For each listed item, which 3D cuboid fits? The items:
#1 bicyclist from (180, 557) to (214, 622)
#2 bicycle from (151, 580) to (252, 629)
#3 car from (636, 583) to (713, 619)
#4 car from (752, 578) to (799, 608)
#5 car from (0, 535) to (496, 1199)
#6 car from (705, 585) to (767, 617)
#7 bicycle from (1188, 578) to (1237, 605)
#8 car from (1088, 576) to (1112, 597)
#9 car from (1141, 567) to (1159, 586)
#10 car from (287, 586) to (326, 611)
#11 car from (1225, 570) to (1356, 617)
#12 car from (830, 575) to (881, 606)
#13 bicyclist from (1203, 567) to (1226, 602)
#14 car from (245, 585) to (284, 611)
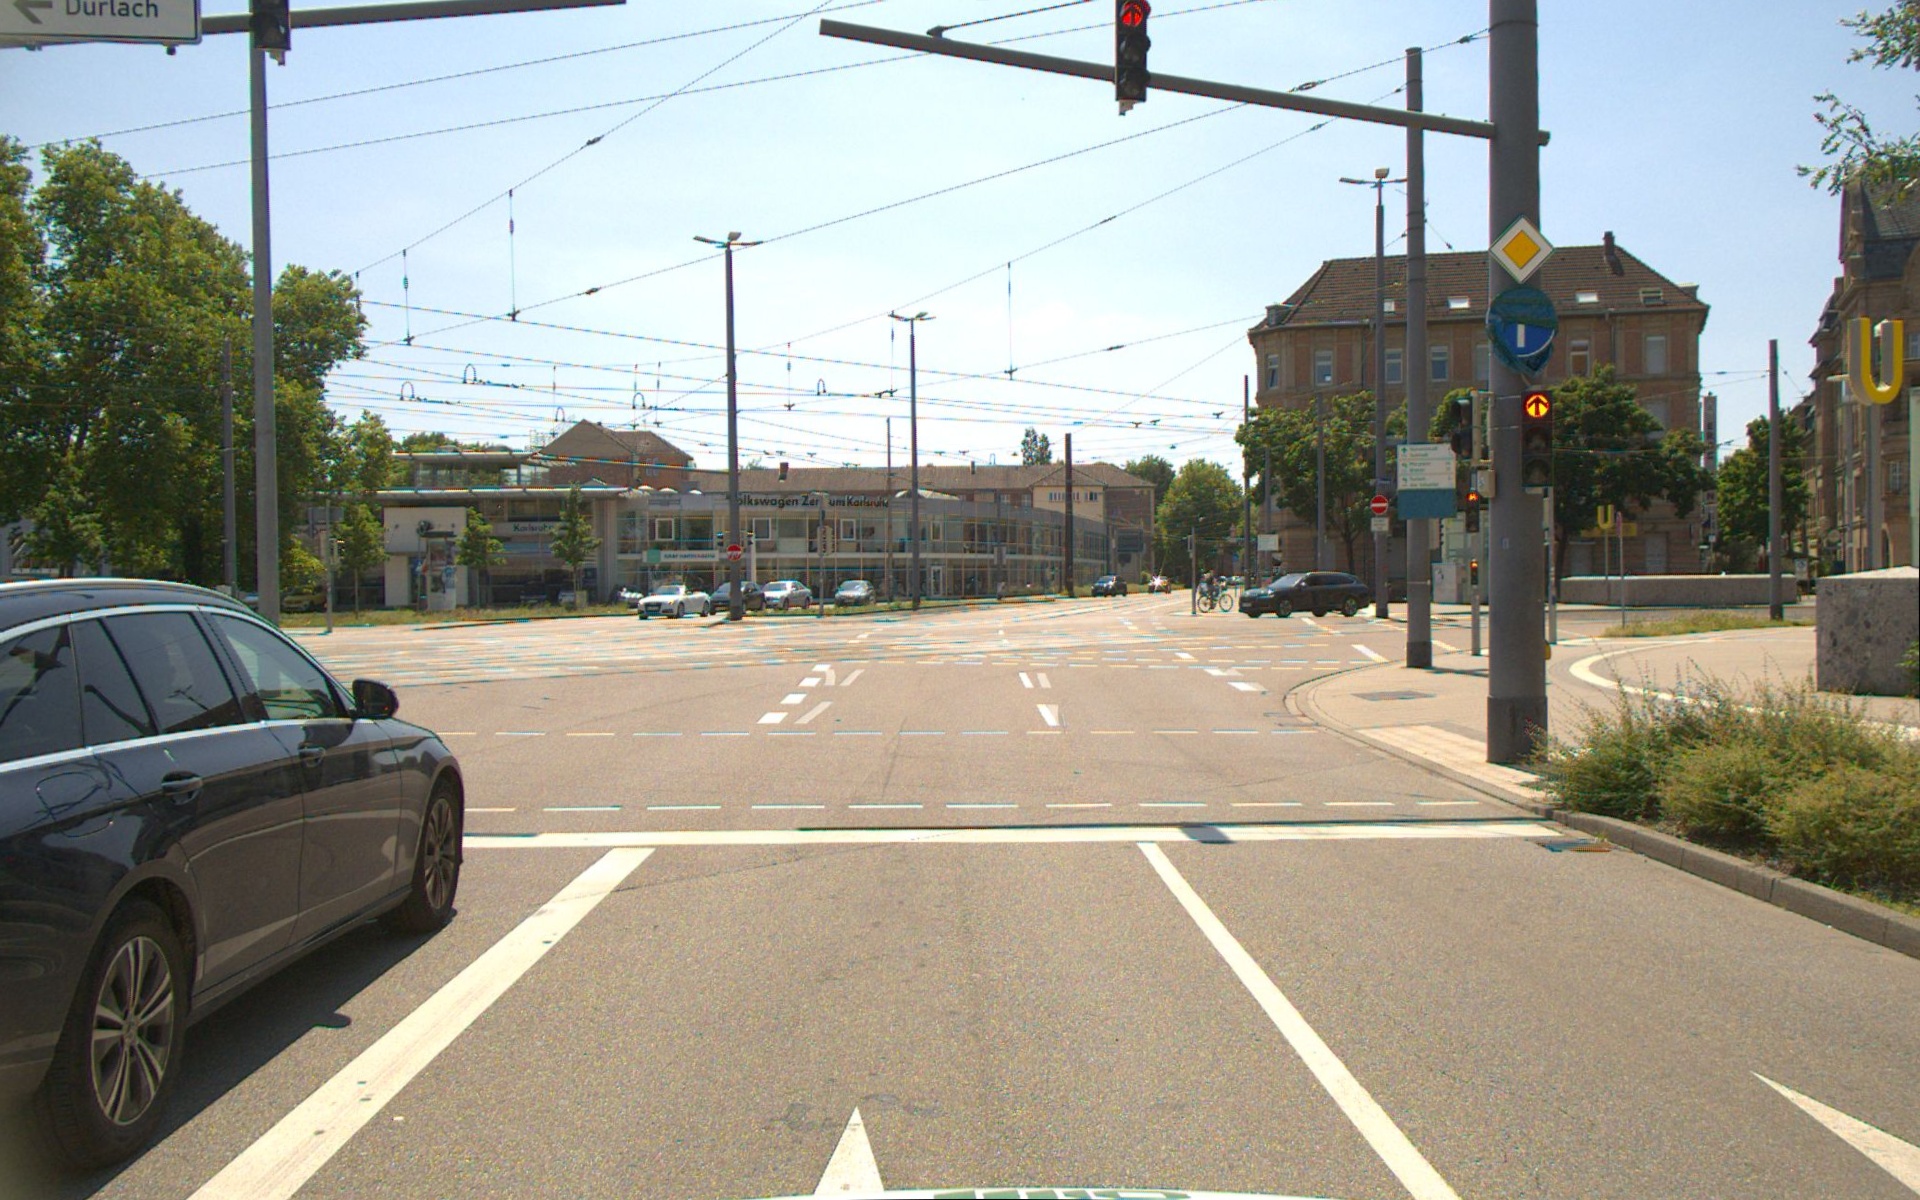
[{"bbox_3d":[-23.708,-0.334,51.416,0.748,1.971,0.660,0,2,-3],"label":"bicyclist"},{"bbox_3d":[-23.577,0.123,51.435,2.769,1.488,0.633,0,2,-4],"label":"bicycle"},{"bbox_3d":[-11.907,0.021,69.146,1.585,1.414,4.127,-1,1,15],"label":"car"},{"bbox_3d":[-9.031,-0.350,81.126,1.401,1.307,3.265,1,3,11],"label":"car"},{"bbox_3d":[-2.924,0.648,5.338,1.682,1.584,4.585,-1,0,-2],"label":"car"},{"bbox_3d":[-10.136,0.022,75.025,1.505,1.300,3.542,1,3,15],"label":"car"},{"bbox_3d":[10.792,-0.359,70.692,2.128,1.126,0.454,-1,2,-20],"label":"bicycle"},{"bbox_3d":[10.994,-1.065,129.738,1.498,1.484,3.556,1,3,10],"label":"car"},{"bbox_3d":[17.520,-2.170,152.598,1.552,1.555,3.719,1,3,8],"label":"car"},{"bbox_3d":[-41.417,-0.132,104.807,1.481,1.443,3.416,0,2,-7],"label":"car"},{"bbox_3d":[11.082,-0.241,55.553,4.039,1.476,1.689,-1,3,-19],"label":"car"},{"bbox_3d":[-5.355,-0.495,84.925,1.537,1.452,3.617,1,3,15],"label":"car"},{"bbox_3d":[10.878,-0.669,70.716,0.721,1.505,0.652,-1,2,-20],"label":"bicyclist"},{"bbox_3d":[-44.210,-0.129,105.177,1.398,1.534,3.433,0,3,-7],"label":"car"}]
